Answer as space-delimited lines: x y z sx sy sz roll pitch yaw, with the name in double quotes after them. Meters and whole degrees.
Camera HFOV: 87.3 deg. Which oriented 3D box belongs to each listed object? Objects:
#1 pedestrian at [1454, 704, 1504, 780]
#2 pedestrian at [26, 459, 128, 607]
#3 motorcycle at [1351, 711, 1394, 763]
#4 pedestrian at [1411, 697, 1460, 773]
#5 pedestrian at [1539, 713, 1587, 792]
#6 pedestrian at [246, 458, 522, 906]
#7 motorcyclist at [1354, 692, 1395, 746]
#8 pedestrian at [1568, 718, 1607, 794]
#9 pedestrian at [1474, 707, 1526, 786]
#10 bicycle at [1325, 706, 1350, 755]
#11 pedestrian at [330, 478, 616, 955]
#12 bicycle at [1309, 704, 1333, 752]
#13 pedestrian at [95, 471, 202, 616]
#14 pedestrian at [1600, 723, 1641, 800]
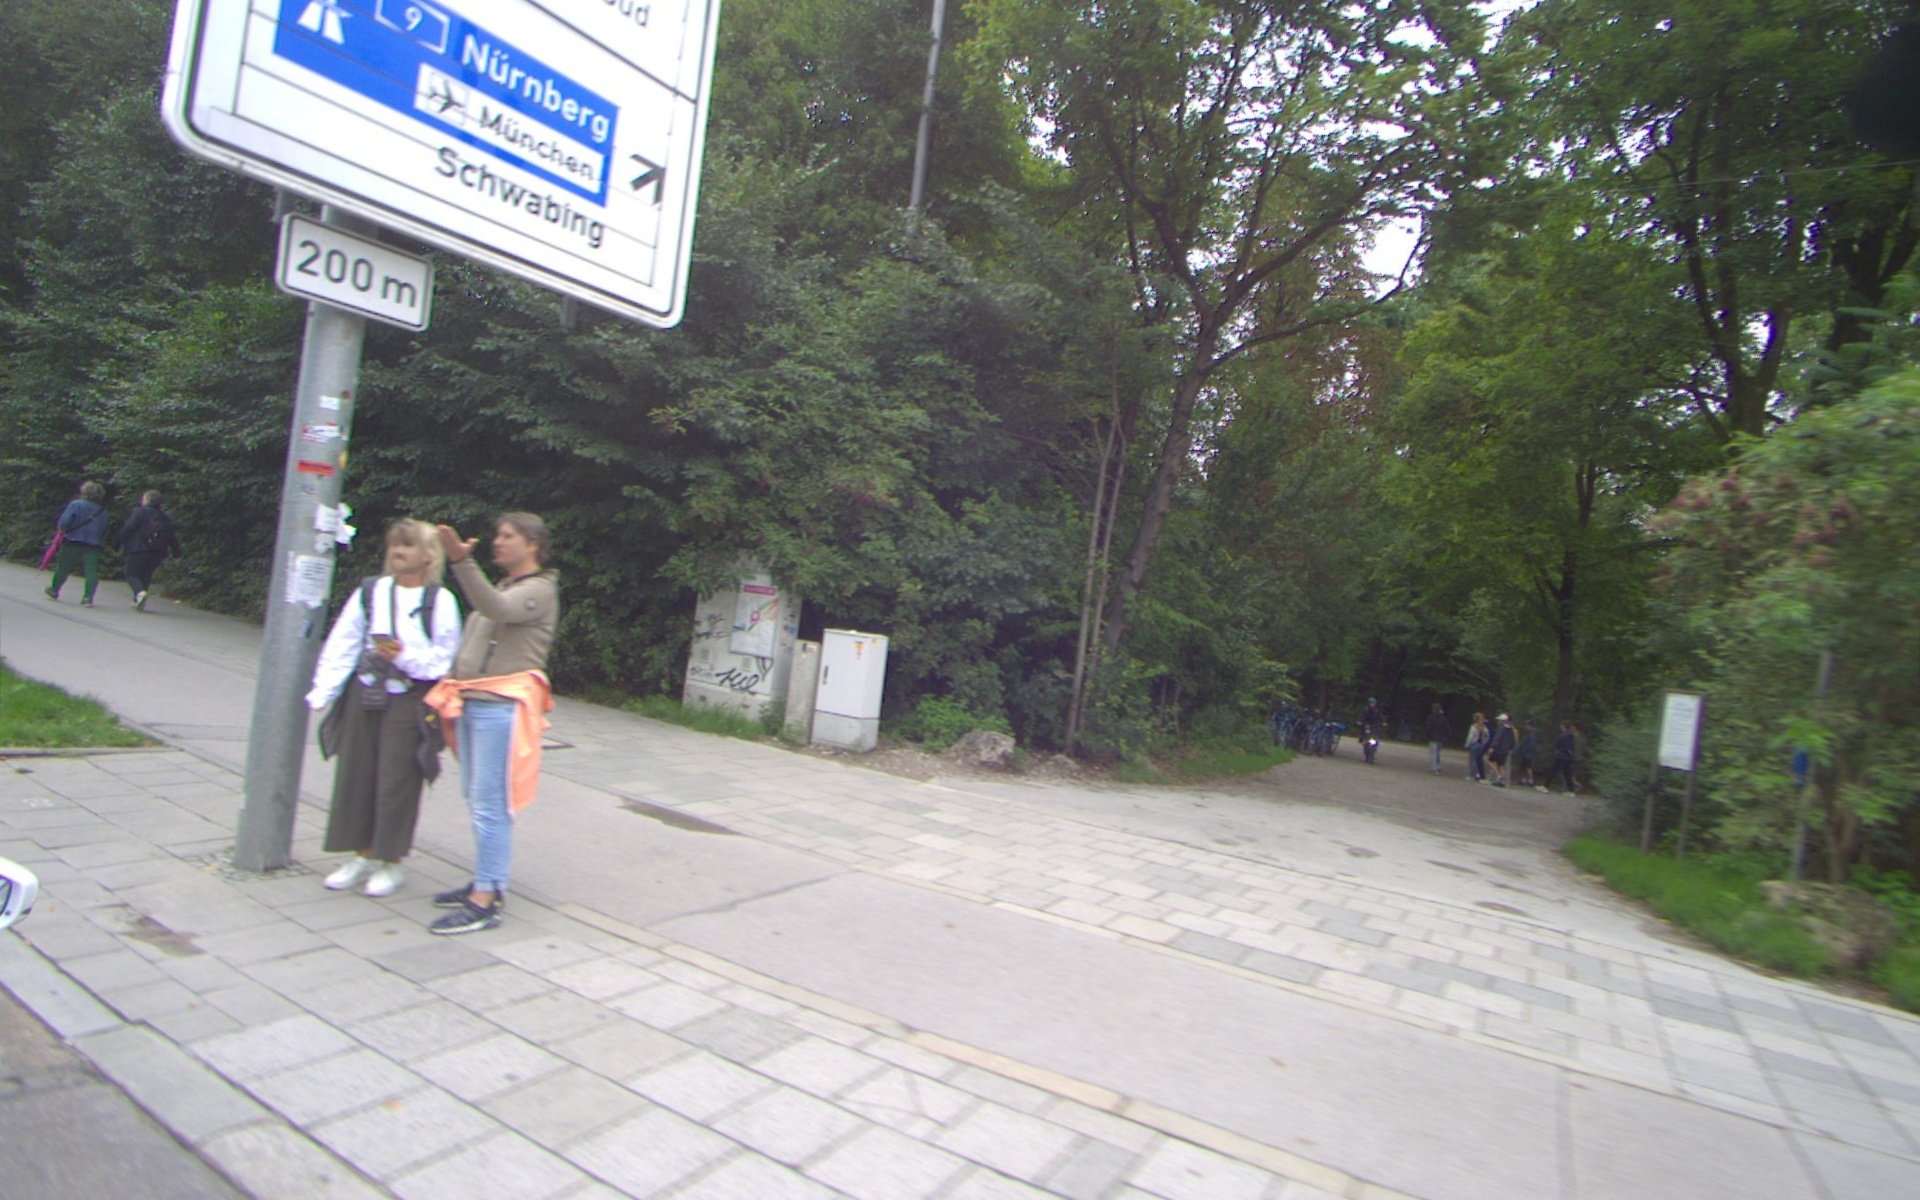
13.373 3.655 25.933 0.722 1.792 0.629 8 0 -1 "pedestrian"
-11.913 -0.894 13.574 0.630 1.859 0.672 8 -1 32 "pedestrian"
11.098 3.664 27.131 0.769 1.206 1.694 8 -2 18 "motorcycle"
12.272 3.477 25.994 0.722 1.792 0.629 8 0 -1 "pedestrian"
14.881 3.743 24.824 0.803 1.792 0.534 8 0 32 "pedestrian"
-2.540 0.337 4.470 0.624 1.782 0.626 8 0 27 "pedestrian"
11.174 3.192 27.138 0.786 1.307 0.744 8 -1 17 "motorcyclist"
15.639 3.878 25.090 0.619 1.792 0.534 8 0 32 "pedestrian"
13.306 3.596 24.802 0.722 1.792 0.629 8 0 -1 "pedestrian"
10.215 3.519 27.264 0.374 1.206 1.853 8 -2 18 "bicycle"
-2.030 0.452 4.233 0.624 1.781 0.610 8 0 24 "pedestrian"
9.810 3.463 27.375 0.374 1.206 1.853 8 -2 18 "bicycle"
-11.392 -0.785 14.123 0.744 1.859 0.752 8 -1 32 "pedestrian"
16.413 4.002 24.998 0.638 1.792 0.444 8 0 32 "pedestrian"
